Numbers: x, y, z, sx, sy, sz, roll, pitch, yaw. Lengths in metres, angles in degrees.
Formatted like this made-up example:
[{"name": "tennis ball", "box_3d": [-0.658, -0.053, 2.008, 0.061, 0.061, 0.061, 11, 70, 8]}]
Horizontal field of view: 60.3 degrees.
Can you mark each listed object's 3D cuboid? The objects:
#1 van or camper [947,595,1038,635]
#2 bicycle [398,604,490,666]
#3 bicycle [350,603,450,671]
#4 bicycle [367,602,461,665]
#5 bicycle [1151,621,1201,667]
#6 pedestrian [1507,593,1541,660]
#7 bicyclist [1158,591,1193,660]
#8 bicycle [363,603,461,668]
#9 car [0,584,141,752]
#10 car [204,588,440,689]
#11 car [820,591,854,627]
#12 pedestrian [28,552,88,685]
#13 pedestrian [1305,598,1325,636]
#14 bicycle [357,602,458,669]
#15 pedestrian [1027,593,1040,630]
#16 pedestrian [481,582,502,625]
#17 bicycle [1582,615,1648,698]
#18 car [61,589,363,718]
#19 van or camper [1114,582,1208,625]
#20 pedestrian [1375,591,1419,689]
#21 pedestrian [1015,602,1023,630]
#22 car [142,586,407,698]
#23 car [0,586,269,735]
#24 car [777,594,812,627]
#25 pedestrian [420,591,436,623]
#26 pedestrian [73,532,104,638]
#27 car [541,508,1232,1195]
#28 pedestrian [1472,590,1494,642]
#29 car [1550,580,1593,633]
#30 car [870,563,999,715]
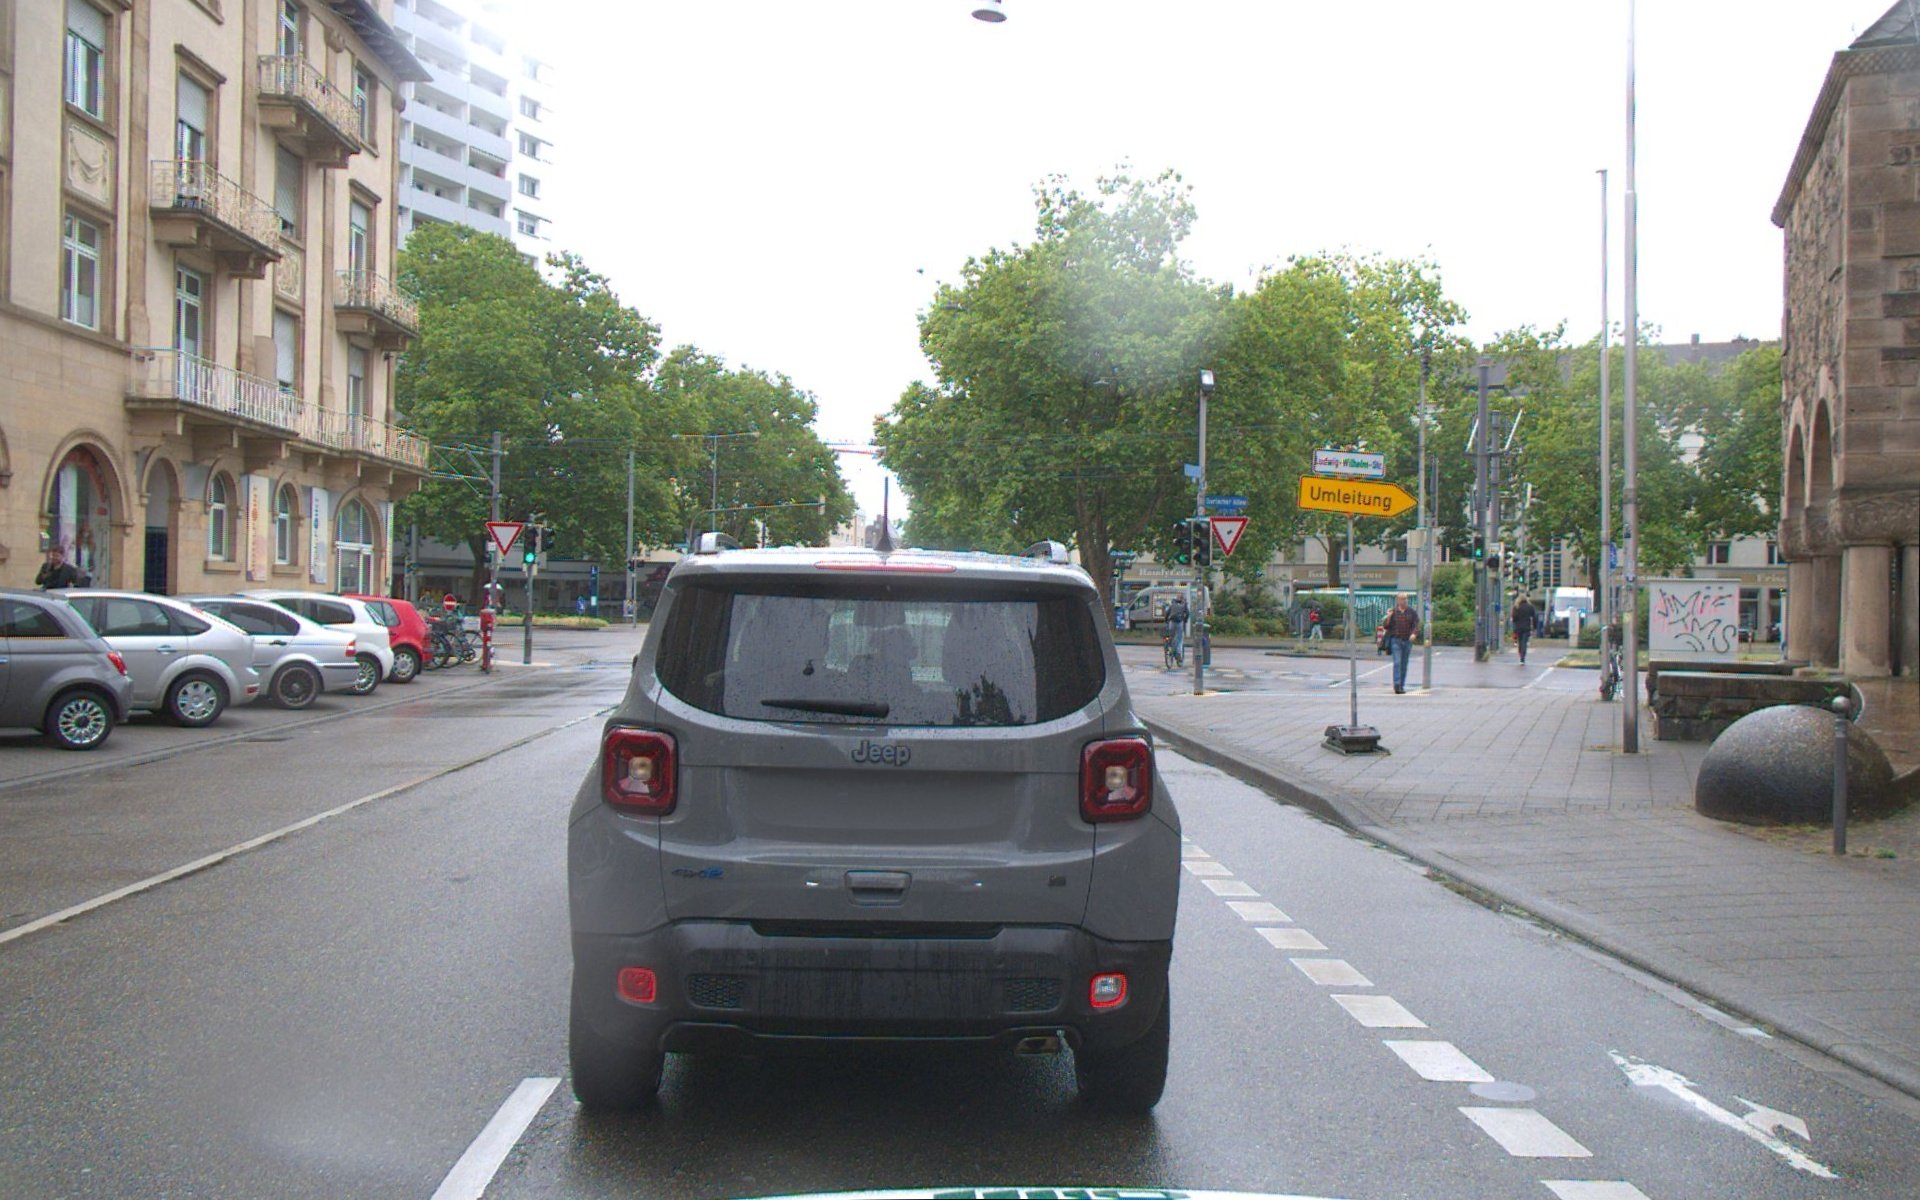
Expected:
[{"name": "van or camper", "box_3d": [2.430, 1.104, 124.742, 6.395, 2.963, 2.493, 0, 0, 24]}, {"name": "bicycle", "box_3d": [-10.873, 0.733, 34.891, 1.728, 1.288, 0.608, 0, 0, -3]}, {"name": "bicycle", "box_3d": [-10.752, 0.705, 31.756, 1.728, 1.288, 0.522, 0, 0, -3]}, {"name": "bicycle", "box_3d": [-11.221, 0.685, 34.005, 1.728, 1.288, 0.608, 0, 0, -3]}, {"name": "bicycle", "box_3d": [5.255, 1.044, 40.105, 0.677, 1.039, 2.659, 0, 0, 19]}, {"name": "pedestrian", "box_3d": [14.309, 0.674, 41.930, 0.767, 1.674, 0.655, 0, 0, 23]}, {"name": "bicyclist", "box_3d": [5.218, 0.606, 40.055, 0.672, 1.646, 0.884, 0, 0, 19]}, {"name": "bicycle", "box_3d": [-10.920, 0.704, 32.983, 1.774, 1.288, 0.498, 0, 0, -3]}, {"name": "car", "box_3d": [-9.960, 0.635, 16.000, 3.372, 1.585, 1.628, 1, 0, -41]}, {"name": "car", "box_3d": [-10.742, 0.618, 27.924, 3.372, 1.585, 1.681, 1, 0, -41]}, {"name": "car", "box_3d": [-6.252, 0.445, 83.811, 1.688, 1.769, 3.726, 1, 0, -5]}, {"name": "pedestrian", "box_3d": [-14.167, 0.289, 25.985, 0.556, 2.049, 0.654, 1, 0, -1]}, {"name": "pedestrian", "box_3d": [14.842, 0.724, 69.136, 0.660, 1.581, 0.761, 0, -2, 27]}, {"name": "bicycle", "box_3d": [-10.780, 0.697, 32.302, 1.774, 1.288, 0.498, 0, 0, -3]}, {"name": "pedestrian", "box_3d": [4.116, 0.658, 92.662, 0.637, 2.049, 0.483, 1, 0, 11]}, {"name": "pedestrian", "box_3d": [-20.135, 0.157, 71.060, 0.605, 1.858, 0.695, 0, 0, 12]}, {"name": "bicycle", "box_3d": [9.833, 0.827, 24.886, 0.322, 1.174, 2.076, 0, 0, 4]}, {"name": "car", "box_3d": [-10.001, 0.674, 22.211, 3.372, 1.585, 1.681, 1, 0, -41]}, {"name": "van or camper", "box_3d": [11.497, 0.185, 94.927, 5.149, 2.356, 2.090, 1, 0, 3]}, {"name": "pedestrian", "box_3d": [8.065, 0.724, 30.543, 0.769, 1.790, 0.946, 0, 0, 14]}, {"name": "pedestrian", "box_3d": [3.621, 0.978, 101.957, 0.448, 1.733, 0.424, 1, 0, -1]}, {"name": "car", "box_3d": [-10.355, 0.597, 25.063, 3.372, 1.585, 1.681, 1, 0, -41]}, {"name": "car", "box_3d": [-9.956, 0.651, 19.029, 3.372, 1.585, 1.681, 1, 0, -41]}, {"name": "car", "box_3d": [-8.832, 0.523, 88.261, 1.779, 1.700, 3.916, 1, 0, -5]}, {"name": "pedestrian", "box_3d": [-26.155, 0.341, 81.305, 0.433, 1.556, 0.643, 0, 0, 25]}, {"name": "pedestrian", "box_3d": [-15.373, -0.259, 29.181, 0.359, 1.854, 0.347, 0, -1, -4]}, {"name": "car", "box_3d": [-0.242, 0.625, 6.108, 1.739, 1.716, 3.846, 0, 0, -2]}, {"name": "pedestrian", "box_3d": [20.938, 0.626, 66.225, 0.789, 2.049, 0.589, 0, 0, 26]}, {"name": "car", "box_3d": [31.210, 0.320, 84.303, 1.868, 2.600, 4.786, 0, 0, 22]}, {"name": "car", "box_3d": [-0.394, 0.524, 24.454, 1.734, 2.049, 3.999, 1, 0, -1]}]
